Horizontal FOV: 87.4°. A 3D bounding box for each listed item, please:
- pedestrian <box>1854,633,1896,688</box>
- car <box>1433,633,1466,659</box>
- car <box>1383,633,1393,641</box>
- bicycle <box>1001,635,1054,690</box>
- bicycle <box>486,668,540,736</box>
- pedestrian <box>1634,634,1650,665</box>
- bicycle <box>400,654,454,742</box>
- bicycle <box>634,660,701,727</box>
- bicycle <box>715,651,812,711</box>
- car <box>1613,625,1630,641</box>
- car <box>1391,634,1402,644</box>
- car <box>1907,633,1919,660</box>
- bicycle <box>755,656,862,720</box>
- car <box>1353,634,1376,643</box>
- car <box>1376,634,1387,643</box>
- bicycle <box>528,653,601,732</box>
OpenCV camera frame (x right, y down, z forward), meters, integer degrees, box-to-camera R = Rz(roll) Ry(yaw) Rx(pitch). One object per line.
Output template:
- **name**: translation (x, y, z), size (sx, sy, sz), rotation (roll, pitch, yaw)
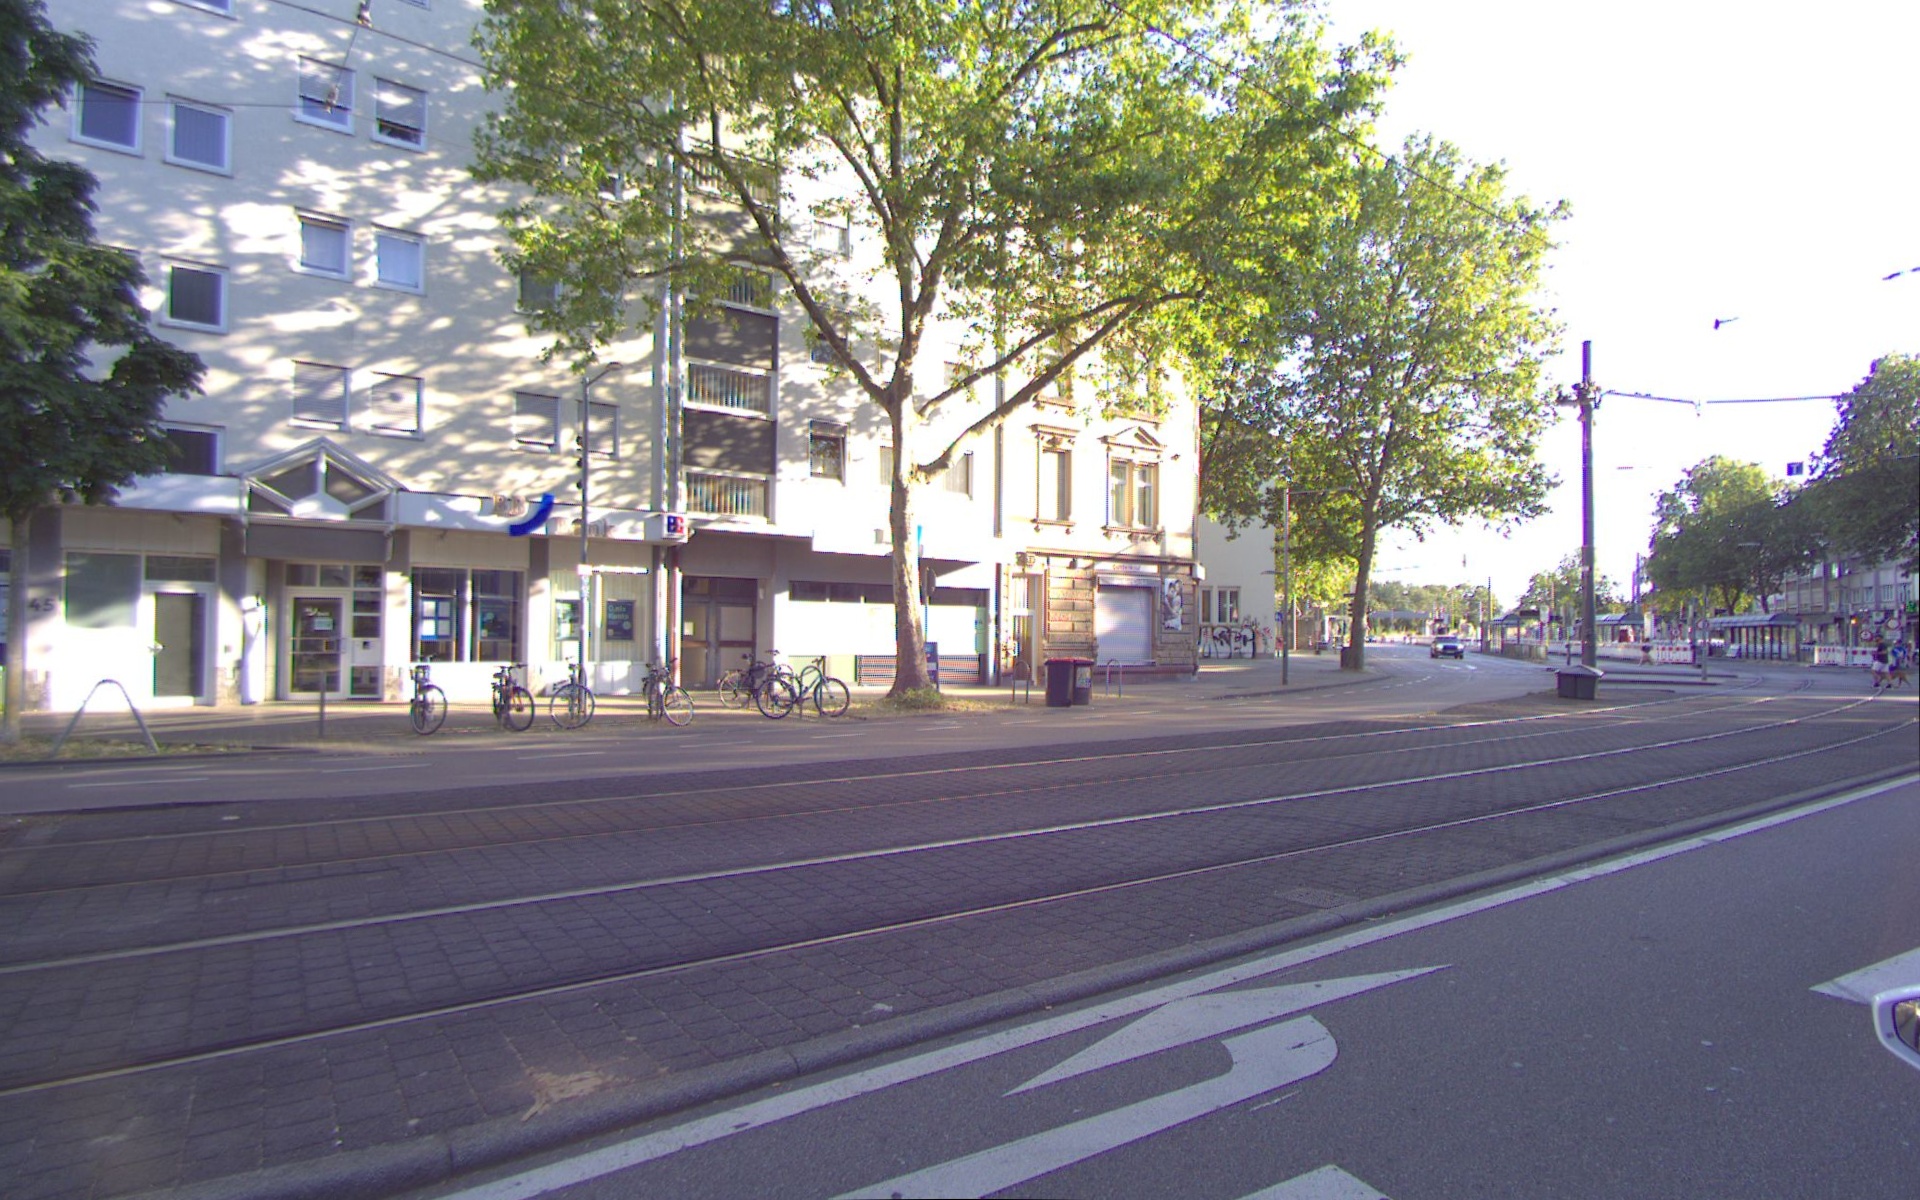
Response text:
- **pedestrian**: translation (29.844, 1.963, 32.761), size (0.510, 1.750, 0.893), rotation (1, -2, -27)
- **car**: translation (32.973, 3.108, 67.702), size (1.962, 1.661, 3.997), rotation (0, -2, 25)
- **car**: translation (89.557, 7.757, 210.279), size (1.814, 1.706, 3.716), rotation (0, -2, 23)
- **bicycle**: translation (1.848, 1.703, 27.822), size (0.469, 1.430, 1.956), rotation (1, -1, -29)
- **bicycle**: translation (-6.933, 1.546, 15.534), size (0.467, 0.900, 1.729), rotation (2, -1, -34)
- **pedestrian**: translation (37.892, 2.759, 55.789), size (0.645, 1.678, 0.444), rotation (0, -2, 18)
- **bicycle**: translation (-7.834, 1.399, 14.745), size (0.506, 1.153, 1.729), rotation (2, -1, -34)
- **bicycle**: translation (-5.013, 1.568, 17.140), size (0.584, 1.002, 1.729), rotation (2, -1, -34)
- **bicycle**: translation (-3.908, 1.591, 20.007), size (1.777, 1.132, 0.617), rotation (2, -2, -29)
- **car**: translation (88.625, 4.412, 134.598), size (1.593, 2.040, 3.110), rotation (0, -2, 26)
- **car**: translation (78.762, 7.045, 181.346), size (1.814, 1.706, 3.715), rotation (-2, -2, 23)
- **car**: translation (64.681, 3.119, 66.088), size (1.960, 1.815, 4.000), rotation (2, -1, 20)
- **bicycle**: translation (-2.728, 1.574, 18.201), size (1.800, 1.091, 0.649), rotation (2, -2, -29)
- **car**: translation (78.226, 7.388, 194.283), size (3.919, 1.661, 1.792), rotation (0, -2, 13)
- **car**: translation (79.441, 7.209, 189.329), size (1.814, 1.706, 3.716), rotation (0, -2, 23)
- **bicycle**: translation (-6.350, 1.448, 16.076), size (0.724, 1.128, 1.729), rotation (2, -1, -34)
